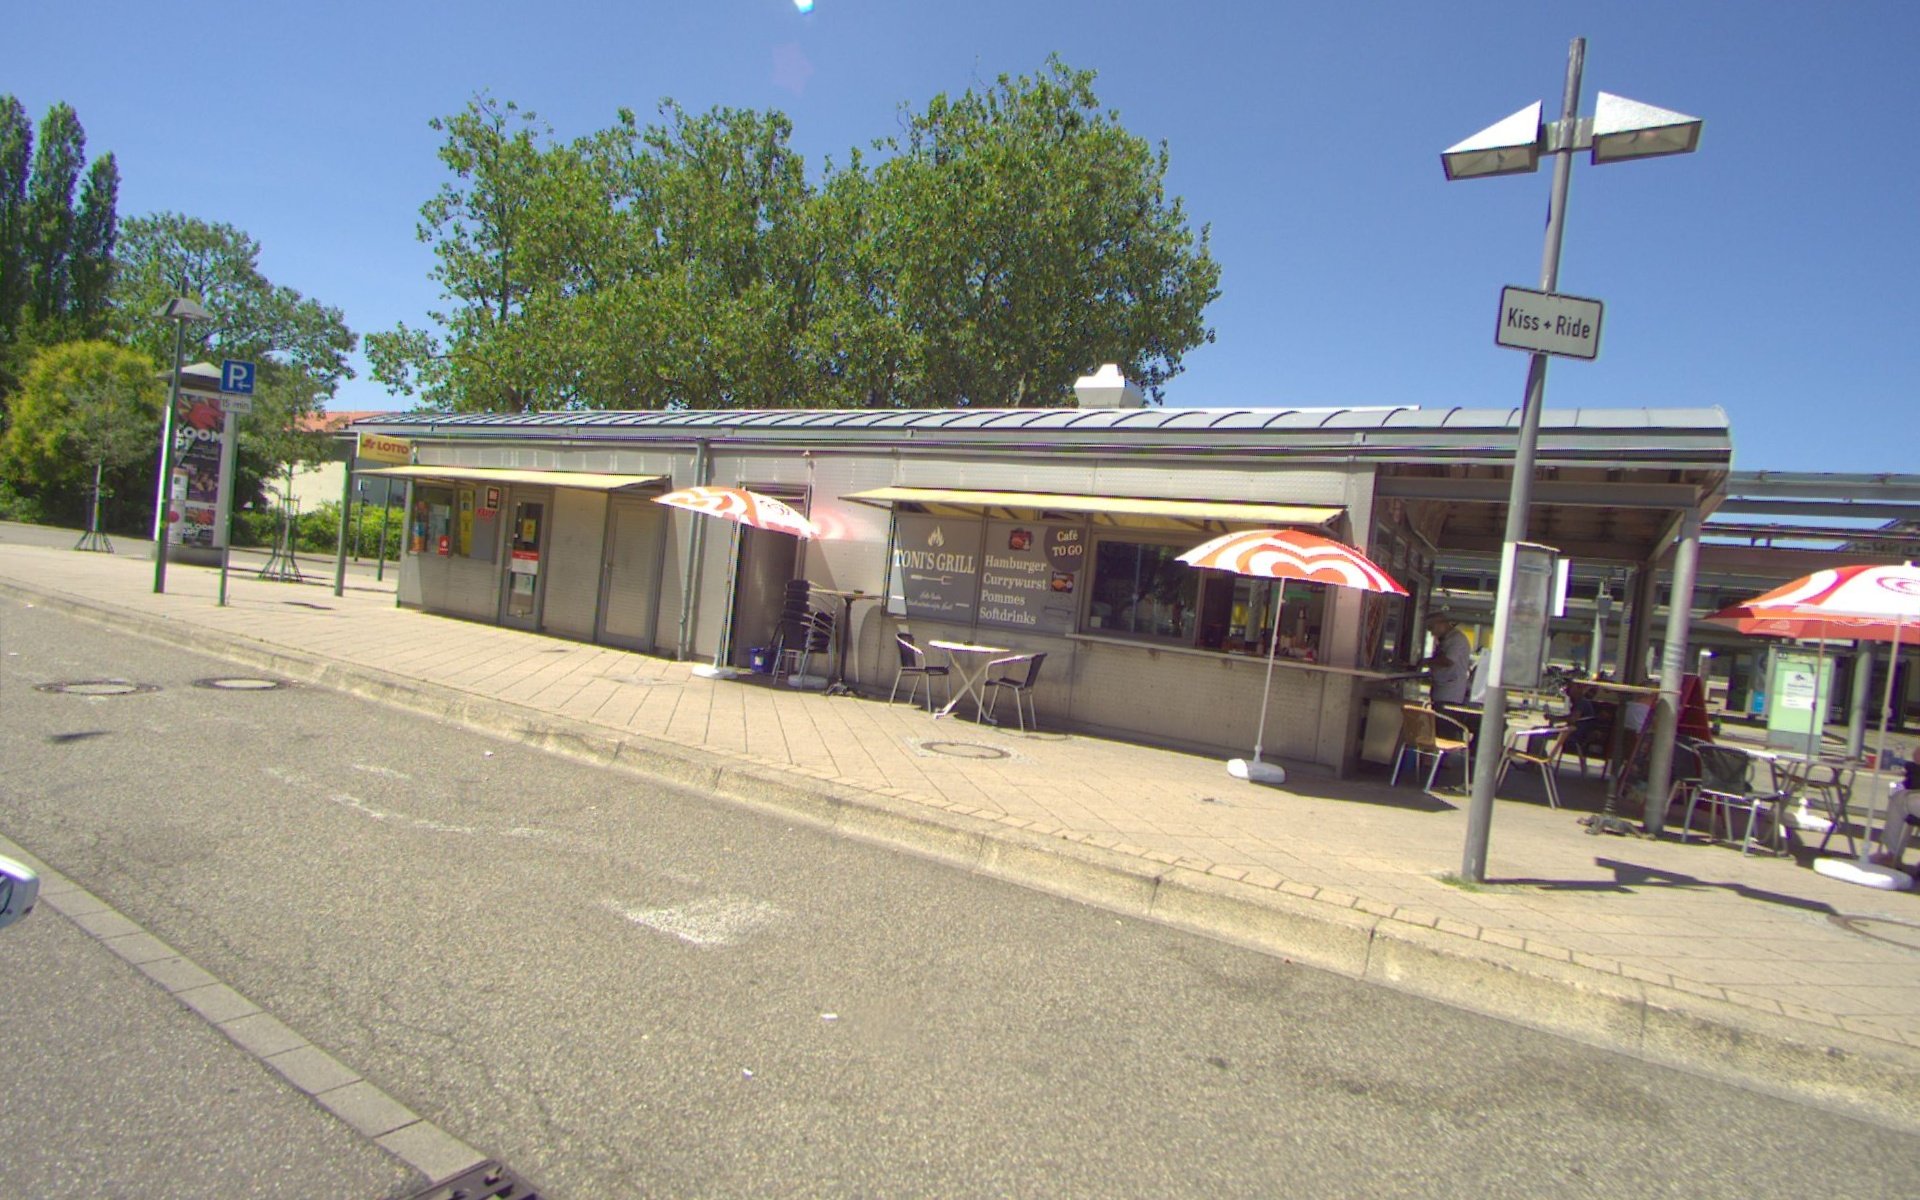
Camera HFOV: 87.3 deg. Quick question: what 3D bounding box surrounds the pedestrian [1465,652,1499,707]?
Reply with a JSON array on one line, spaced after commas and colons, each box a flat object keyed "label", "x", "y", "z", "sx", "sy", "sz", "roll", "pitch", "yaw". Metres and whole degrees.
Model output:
[{"label": "pedestrian", "x": 14.233, "y": 2.159, "z": 27.407, "sx": 0.665, "sy": 1.413, "sz": 0.625, "roll": 6, "pitch": 2, "yaw": 31}]

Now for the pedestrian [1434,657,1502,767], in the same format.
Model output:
[{"label": "pedestrian", "x": 6.139, "y": 1.346, "z": 12.138, "sx": 0.582, "sy": 1.219, "sz": 0.656, "roll": 6, "pitch": -1, "yaw": 31}]

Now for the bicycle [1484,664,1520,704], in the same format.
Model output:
[{"label": "bicycle", "x": 15.942, "y": 2.487, "z": 29.575, "sx": 0.797, "sy": 1.015, "sz": 2.793, "roll": 6, "pitch": -2, "yaw": 29}]

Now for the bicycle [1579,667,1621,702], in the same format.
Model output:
[{"label": "bicycle", "x": 22.085, "y": 2.930, "z": 34.752, "sx": 0.950, "sy": 1.015, "sz": 2.793, "roll": 6, "pitch": -2, "yaw": 29}]

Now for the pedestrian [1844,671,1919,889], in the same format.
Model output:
[{"label": "pedestrian", "x": 6.852, "y": 1.267, "z": 6.861, "sx": 0.676, "sy": 1.436, "sz": 0.894, "roll": 6, "pitch": 1, "yaw": -6}]

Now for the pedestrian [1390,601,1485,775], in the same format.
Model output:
[{"label": "pedestrian", "x": 5.214, "y": 0.941, "z": 10.980, "sx": 0.695, "sy": 1.759, "sz": 0.687, "roll": 7, "pitch": 1, "yaw": 32}]

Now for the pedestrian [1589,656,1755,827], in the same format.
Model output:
[{"label": "pedestrian", "x": 6.282, "y": 1.225, "z": 8.930, "sx": 0.676, "sy": 1.329, "sz": 0.894, "roll": 6, "pitch": 1, "yaw": -3}]

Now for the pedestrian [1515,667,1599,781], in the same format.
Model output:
[{"label": "pedestrian", "x": 7.079, "y": 1.458, "z": 11.933, "sx": 0.725, "sy": 1.219, "sz": 0.760, "roll": 6, "pitch": -2, "yaw": 32}]

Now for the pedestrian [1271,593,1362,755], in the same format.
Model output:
[{"label": "pedestrian", "x": 4.162, "y": 0.848, "z": 11.738, "sx": 0.695, "sy": 1.760, "sz": 0.687, "roll": 7, "pitch": 1, "yaw": 32}]

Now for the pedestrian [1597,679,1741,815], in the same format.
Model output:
[{"label": "pedestrian", "x": 7.109, "y": 1.453, "z": 10.130, "sx": 0.676, "sy": 1.175, "sz": 0.894, "roll": 6, "pitch": 1, "yaw": -3}]

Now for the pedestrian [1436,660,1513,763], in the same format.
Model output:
[{"label": "pedestrian", "x": 6.566, "y": 1.427, "z": 12.833, "sx": 0.653, "sy": 1.219, "sz": 0.585, "roll": 8, "pitch": -2, "yaw": -43}]

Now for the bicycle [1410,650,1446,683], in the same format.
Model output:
[{"label": "bicycle", "x": 17.648, "y": 2.525, "z": 37.931, "sx": 0.950, "sy": 1.015, "sz": 2.793, "roll": 6, "pitch": -2, "yaw": 29}]
